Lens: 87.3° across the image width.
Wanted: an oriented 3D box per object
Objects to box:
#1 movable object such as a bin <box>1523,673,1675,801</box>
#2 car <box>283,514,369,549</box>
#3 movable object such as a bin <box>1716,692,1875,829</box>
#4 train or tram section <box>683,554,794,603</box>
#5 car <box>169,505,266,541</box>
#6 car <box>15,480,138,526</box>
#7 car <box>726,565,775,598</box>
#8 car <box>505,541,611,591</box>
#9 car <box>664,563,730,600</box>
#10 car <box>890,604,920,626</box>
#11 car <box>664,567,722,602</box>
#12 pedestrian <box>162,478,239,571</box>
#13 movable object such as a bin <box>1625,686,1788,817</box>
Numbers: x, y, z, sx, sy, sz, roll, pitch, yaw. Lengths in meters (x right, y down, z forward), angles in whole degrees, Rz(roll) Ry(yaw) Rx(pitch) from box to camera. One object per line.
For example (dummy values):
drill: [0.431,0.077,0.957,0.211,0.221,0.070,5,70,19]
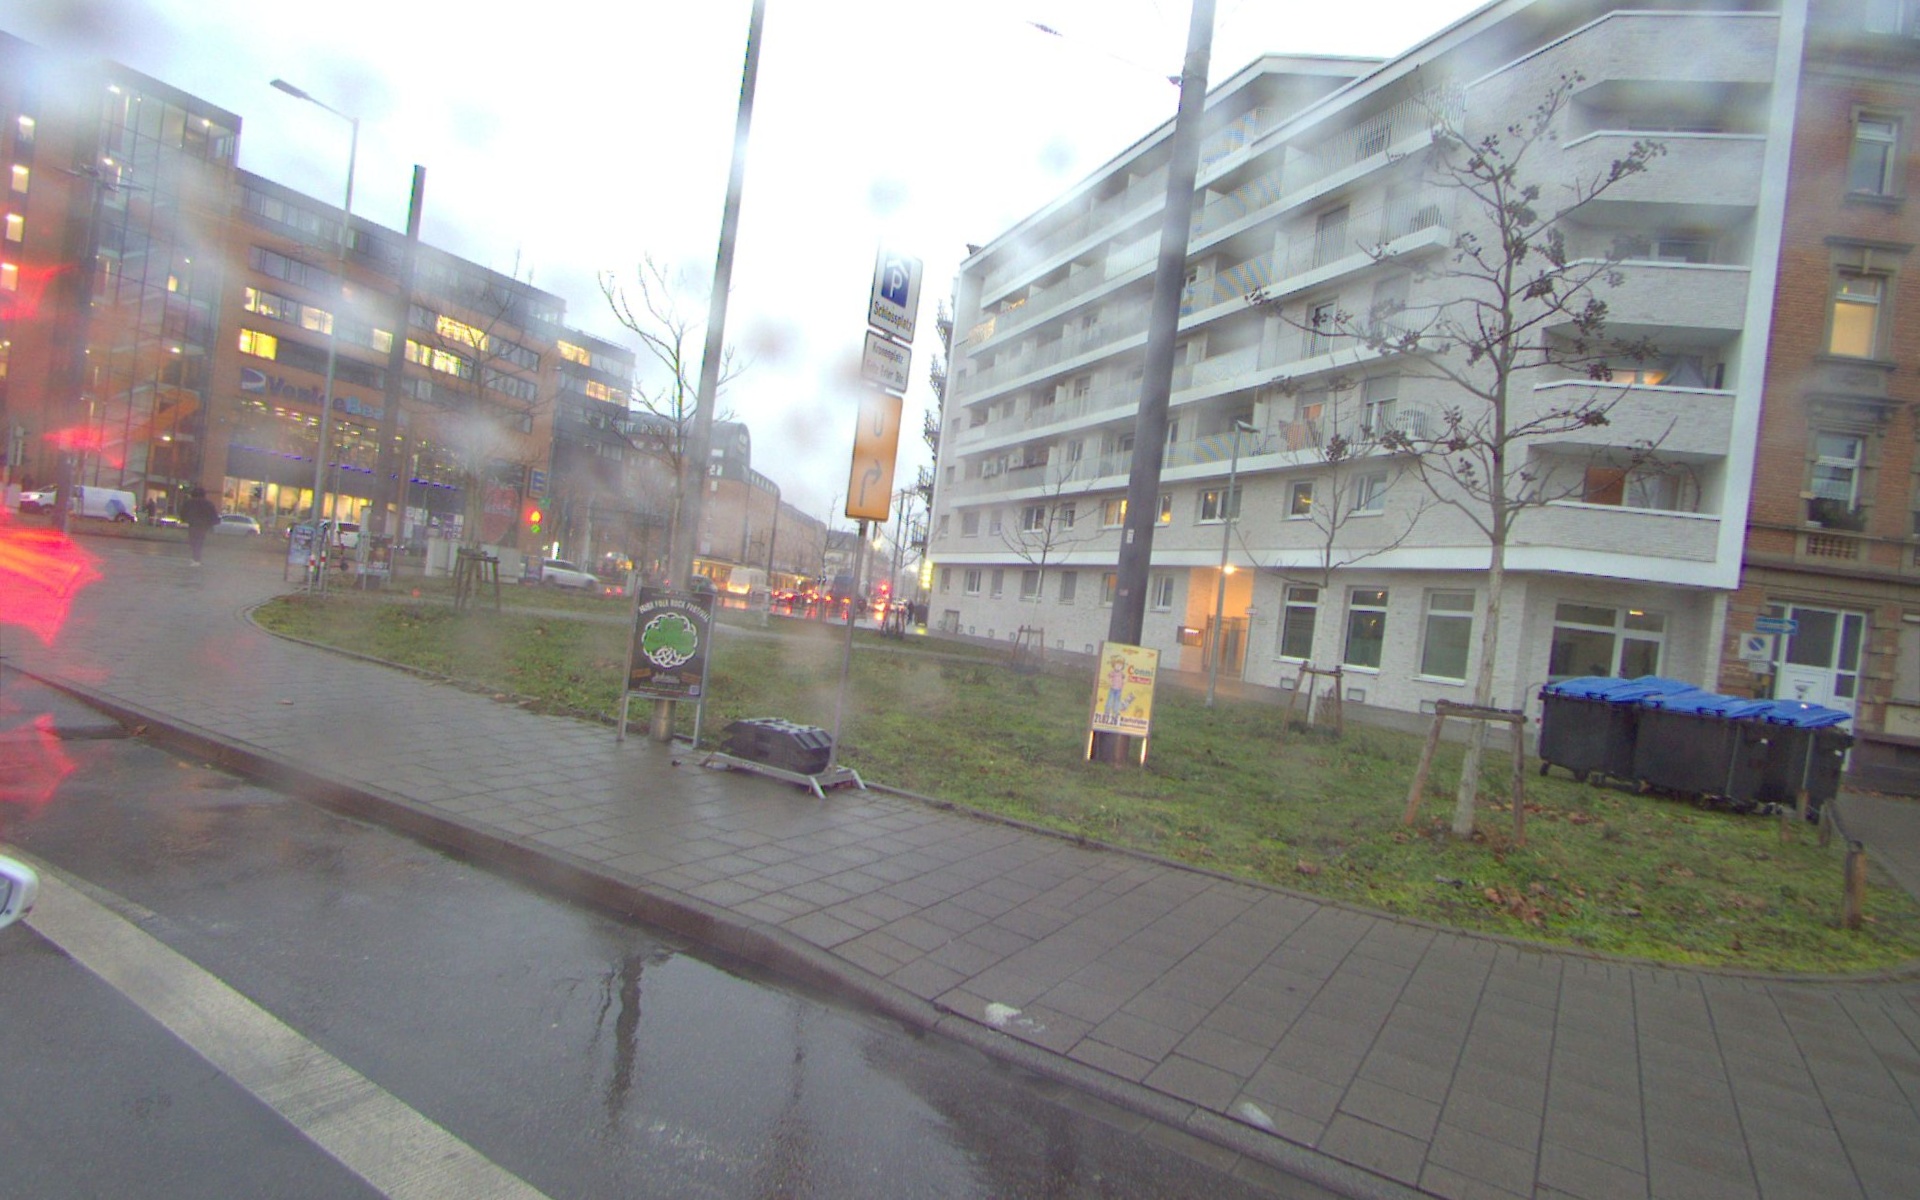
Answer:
movable object such as a bin: [9.000,1.906,14.218,1.016,1.513,1.323,7,0,-18]
car: [-41.195,-4.423,65.477,1.767,1.553,4.444,7,-1,25]
movable object such as a bin: [10.771,2.043,12.999,1.021,1.507,1.039,9,-2,-12]
train or tram section: [-20.984,-1.887,97.174,2.293,3.300,16.666,7,-1,17]
car: [-43.836,-4.520,59.510,1.767,1.406,4.227,7,-1,25]
car: [-46.170,-5.060,52.693,1.767,1.614,4.431,7,-1,25]
car: [-17.490,-1.490,84.201,1.962,2.036,4.957,8,-2,11]
car: [-19.409,-1.613,48.773,1.799,1.873,4.682,6,-1,24]
car: [-16.801,-1.164,64.355,1.963,1.898,3.998,8,1,21]
car: [-6.353,1.758,116.620,1.962,2.036,4.376,8,-2,16]
car: [-20.109,-1.127,75.918,1.963,2.036,4.003,8,-2,22]
pedestrian: [-17.650,-1.738,23.407,1.164,1.946,0.890,10,-2,-35]
movable object such as a bin: [9.590,1.934,12.974,1.003,1.434,1.218,6,1,-21]
